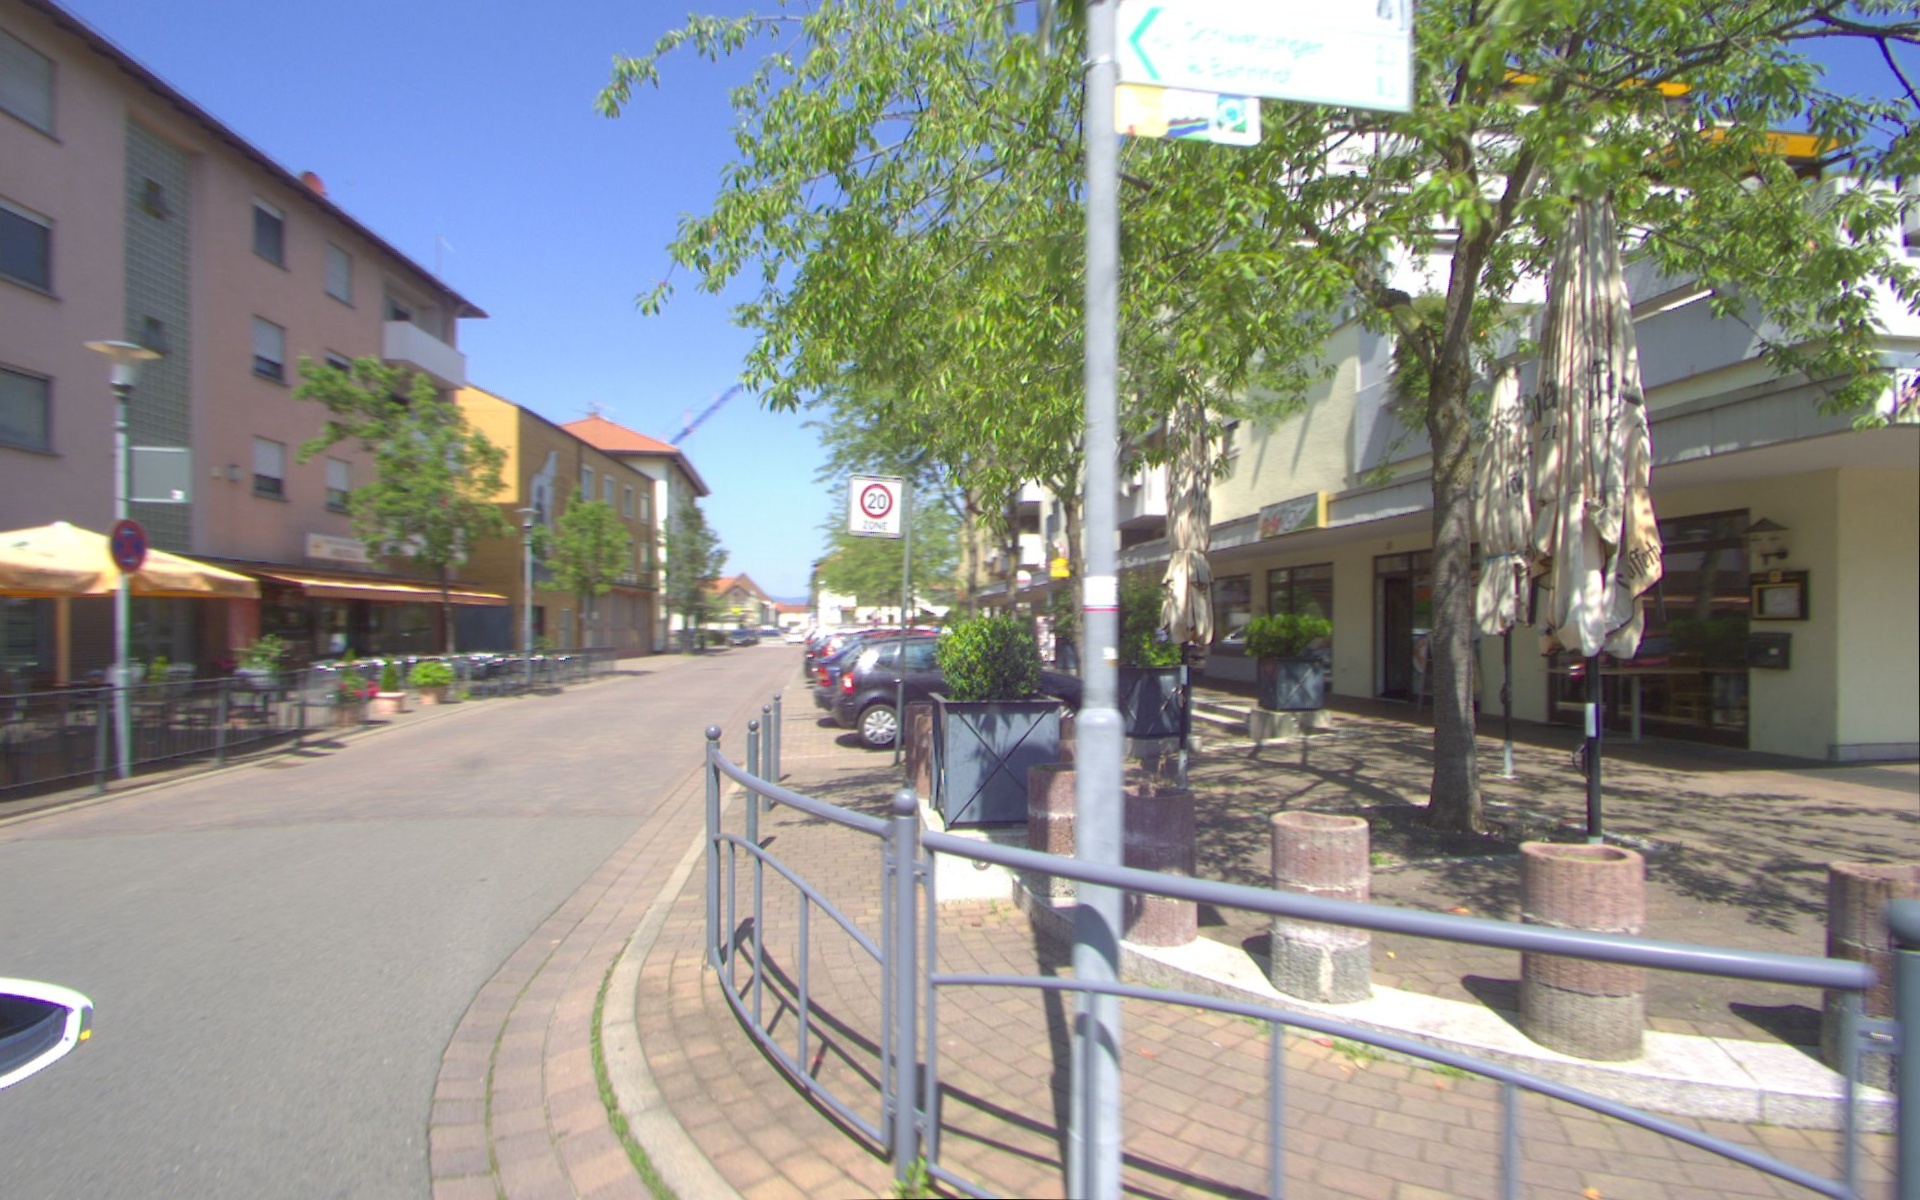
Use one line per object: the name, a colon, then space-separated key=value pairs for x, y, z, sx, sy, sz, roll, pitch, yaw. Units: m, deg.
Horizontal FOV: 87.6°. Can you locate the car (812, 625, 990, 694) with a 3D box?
car: x=-1.489 y=1.408 z=24.406 sx=4.118 sy=1.561 sz=1.945 roll=0 pitch=-1 yaw=-12

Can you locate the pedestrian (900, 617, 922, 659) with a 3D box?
pedestrian: x=-2.150 y=1.649 z=44.087 sx=0.825 sy=1.810 sz=0.805 roll=0 pitch=0 yaw=-14

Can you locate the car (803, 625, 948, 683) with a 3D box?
car: x=-2.474 y=1.555 z=29.174 sx=4.087 sy=1.595 sz=1.758 roll=0 pitch=0 yaw=-6

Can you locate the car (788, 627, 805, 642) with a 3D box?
car: x=-17.976 y=3.744 z=110.220 sx=1.802 sy=1.552 sz=3.943 roll=0 pitch=0 yaw=-8

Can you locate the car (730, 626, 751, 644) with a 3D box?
car: x=-19.921 y=3.173 z=90.942 sx=1.484 sy=1.520 sz=3.825 roll=0 pitch=0 yaw=-8

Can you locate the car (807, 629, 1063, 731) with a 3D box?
car: x=-0.484 y=1.272 z=16.676 sx=4.032 sy=1.450 sz=1.783 roll=-1 pitch=0 yaw=-8

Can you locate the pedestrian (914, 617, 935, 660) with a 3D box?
pedestrian: x=-1.527 y=1.642 z=43.112 sx=0.824 sy=1.810 sz=0.806 roll=0 pitch=0 yaw=4

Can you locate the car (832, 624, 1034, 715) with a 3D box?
car: x=-0.582 y=1.279 z=19.186 sx=3.664 sy=1.555 sz=1.765 roll=-1 pitch=0 yaw=-8

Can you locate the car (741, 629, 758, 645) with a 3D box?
car: x=-21.609 y=3.751 z=102.770 sx=1.484 sy=1.520 sz=3.825 roll=0 pitch=0 yaw=-8

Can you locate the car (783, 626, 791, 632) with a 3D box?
car: x=-41.108 y=6.861 z=237.643 sx=1.719 sy=1.500 sz=3.627 roll=0 pitch=0 yaw=-7

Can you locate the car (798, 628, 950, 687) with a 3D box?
car: x=-2.244 y=1.495 z=26.516 sx=3.873 sy=1.508 sz=1.716 roll=0 pitch=-1 yaw=-3

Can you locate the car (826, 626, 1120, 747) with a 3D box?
car: x=0.106 y=1.146 z=14.137 sx=3.896 sy=1.529 sz=1.772 roll=0 pitch=-1 yaw=-9

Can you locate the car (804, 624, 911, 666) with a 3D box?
car: x=-4.142 y=1.780 z=40.218 sx=4.177 sy=1.636 sz=1.557 roll=0 pitch=-1 yaw=-9

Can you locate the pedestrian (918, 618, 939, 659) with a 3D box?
pedestrian: x=-1.413 y=1.704 z=44.791 sx=0.825 sy=1.810 sz=0.805 roll=0 pitch=0 yaw=-14
